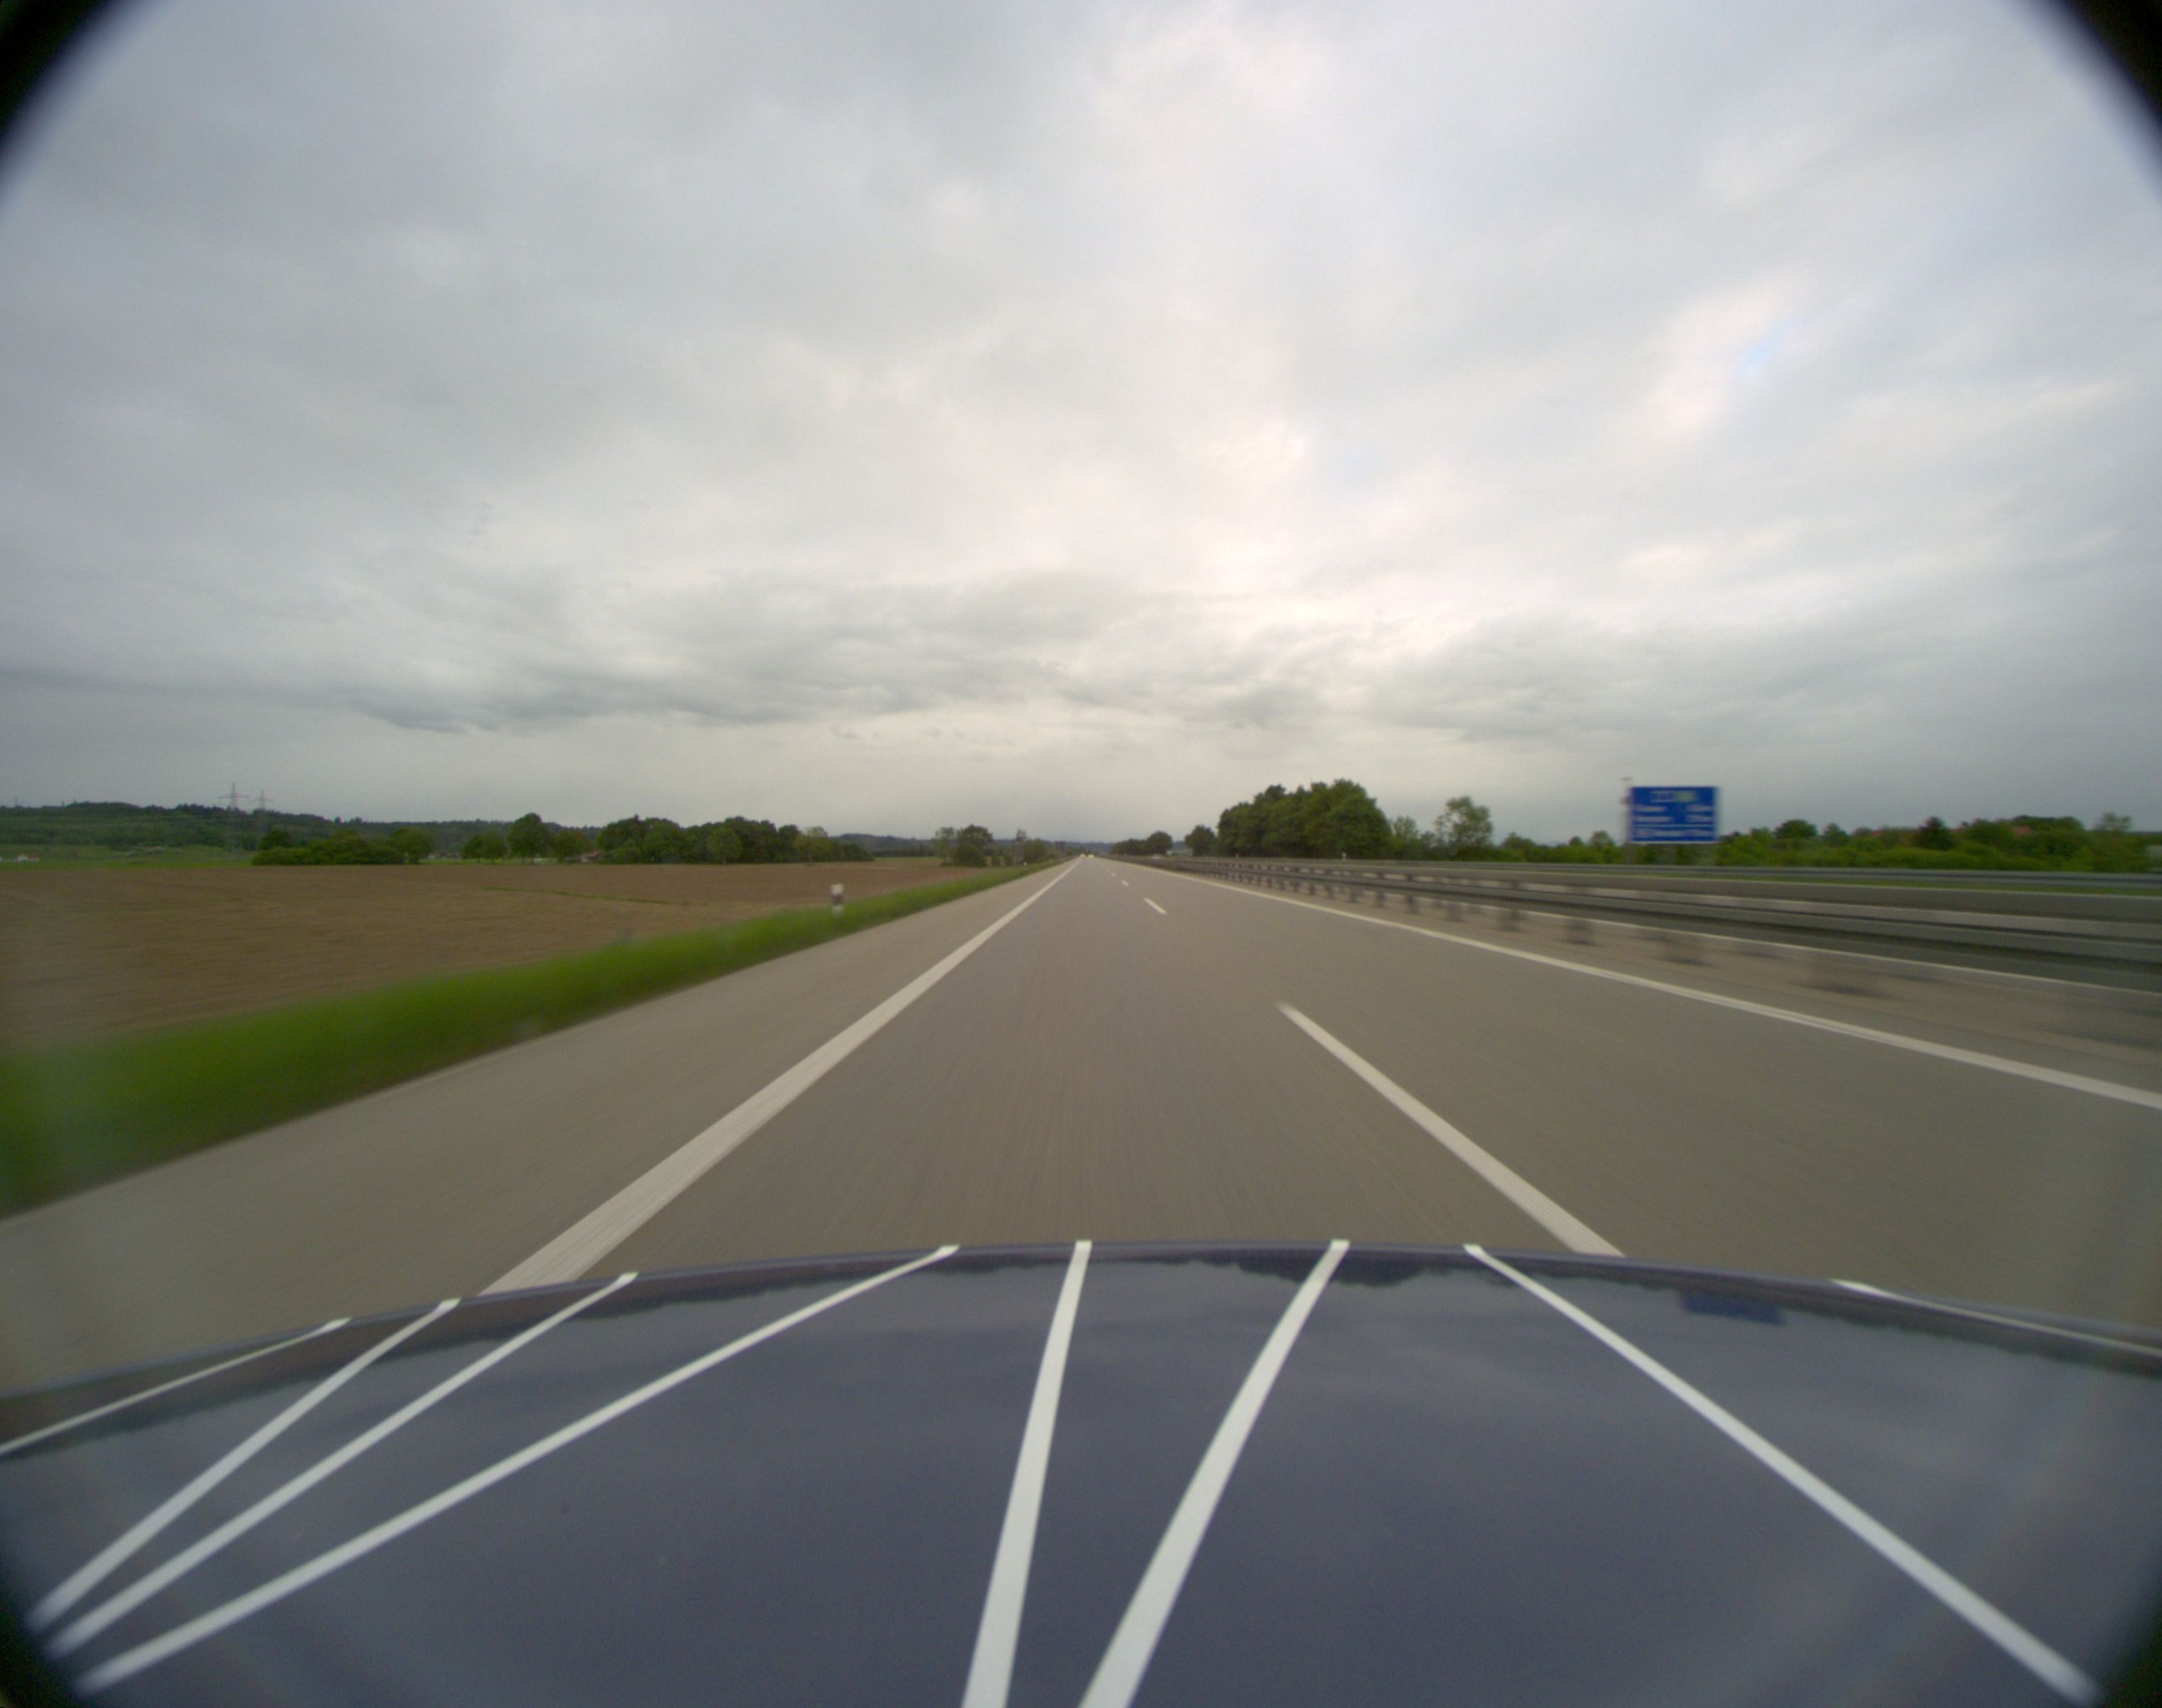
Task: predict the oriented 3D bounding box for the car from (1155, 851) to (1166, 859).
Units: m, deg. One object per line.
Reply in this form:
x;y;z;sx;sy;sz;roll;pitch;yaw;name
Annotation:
15.855;0.231;151.837;1.745;1.565;4.856;-2;0;1;car
